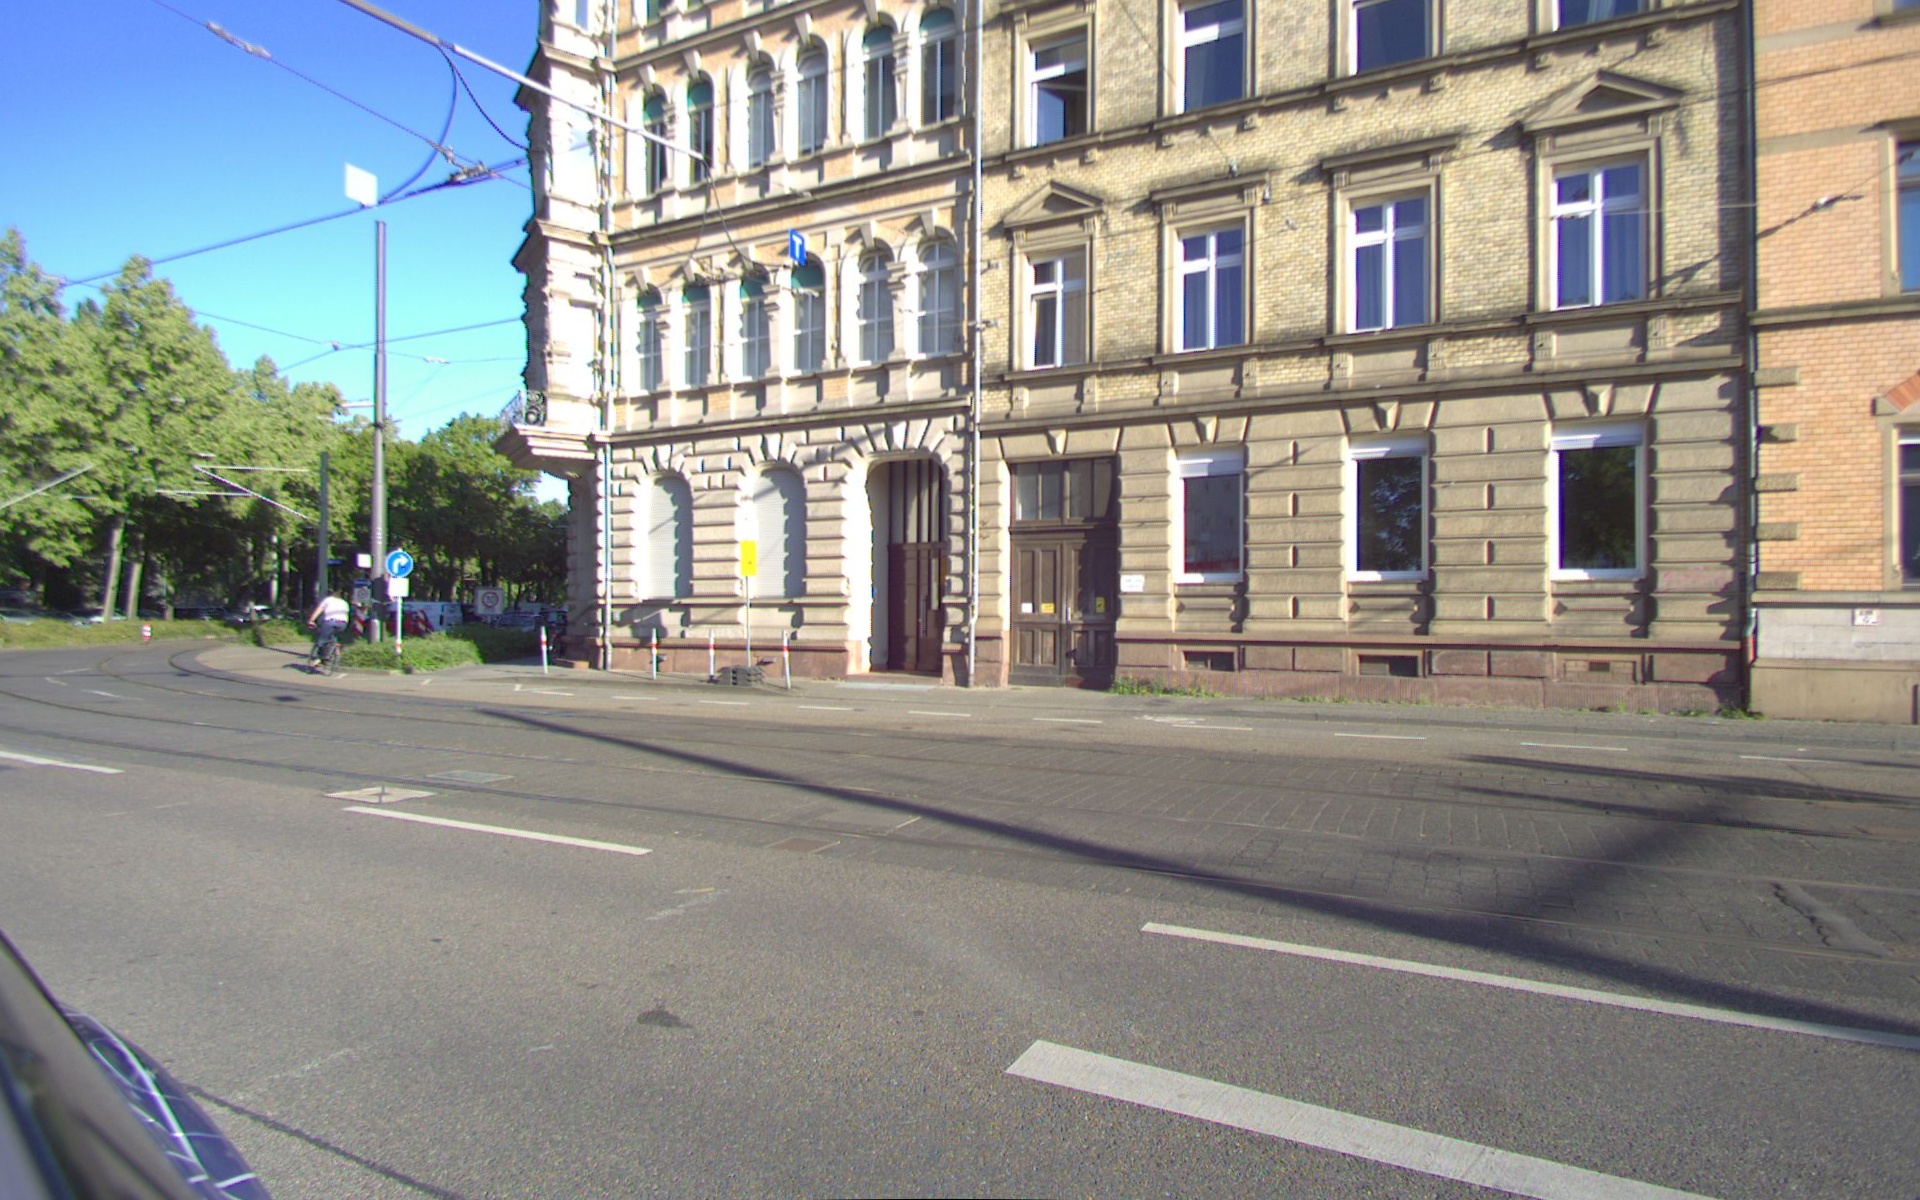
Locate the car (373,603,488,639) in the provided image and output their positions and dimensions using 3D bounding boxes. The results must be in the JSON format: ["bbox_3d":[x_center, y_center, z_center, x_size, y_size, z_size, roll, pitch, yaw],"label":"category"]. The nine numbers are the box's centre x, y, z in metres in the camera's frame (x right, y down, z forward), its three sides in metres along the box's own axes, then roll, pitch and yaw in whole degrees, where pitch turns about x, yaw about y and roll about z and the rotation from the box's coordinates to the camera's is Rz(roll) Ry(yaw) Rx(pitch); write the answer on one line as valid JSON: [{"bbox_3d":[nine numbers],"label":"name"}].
[{"bbox_3d":[-27.581,1.094,52.790,4.991,1.822,1.998,0,-1,3],"label":"car"}]

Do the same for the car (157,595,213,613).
[{"bbox_3d":[-74.887,0.384,97.808,3.944,1.763,1.885,0,-1,1],"label":"car"}]

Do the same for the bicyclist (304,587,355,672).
[{"bbox_3d":[-14.226,0.656,22.825,1.213,1.854,0.719,-2,-2,45],"label":"bicyclist"}]

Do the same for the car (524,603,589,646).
[{"bbox_3d":[-16.319,0.990,41.113,1.710,1.674,4.009,0,-1,-10],"label":"car"}]

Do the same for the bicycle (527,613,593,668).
[{"bbox_3d":[-9.821,0.971,24.939,0.636,1.275,2.689,0,-1,-2],"label":"bicycle"}]

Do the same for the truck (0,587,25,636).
[{"bbox_3d":[-56.226,0.639,58.035,1.966,2.804,4.899,1,-1,-19],"label":"truck"}]

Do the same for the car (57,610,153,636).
[{"bbox_3d":[-45.751,1.241,54.199,3.634,1.364,1.742,0,-1,-2],"label":"car"}]

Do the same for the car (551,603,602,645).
[{"bbox_3d":[-19.484,1.196,51.591,1.966,2.029,4.649,1,-1,-15],"label":"car"}]

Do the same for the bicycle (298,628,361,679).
[{"bbox_3d":[-14.203,1.182,22.780,2.117,1.092,0.718,-2,-2,45],"label":"bicycle"}]

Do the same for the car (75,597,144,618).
[{"bbox_3d":[-71.748,0.639,85.419,4.391,1.763,1.995,0,-1,8],"label":"car"}]

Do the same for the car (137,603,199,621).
[{"bbox_3d":[-74.302,1.134,94.979,4.298,1.719,1.999,0,-1,2],"label":"car"}]

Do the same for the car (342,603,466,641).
[{"bbox_3d":[-27.125,1.086,49.459,4.991,1.801,1.998,0,-1,3],"label":"car"}]

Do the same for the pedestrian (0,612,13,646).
[{"bbox_3d":[-51.420,1.531,54.023,0.819,1.781,0.888,0,-1,1],"label":"pedestrian"}]

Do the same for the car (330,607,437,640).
[{"bbox_3d":[-26.818,1.093,47.184,3.946,1.519,1.867,0,-1,3],"label":"car"}]

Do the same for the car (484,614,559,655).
[{"bbox_3d":[-15.743,1.214,36.490,1.710,1.425,3.441,0,-1,-10],"label":"car"}]
